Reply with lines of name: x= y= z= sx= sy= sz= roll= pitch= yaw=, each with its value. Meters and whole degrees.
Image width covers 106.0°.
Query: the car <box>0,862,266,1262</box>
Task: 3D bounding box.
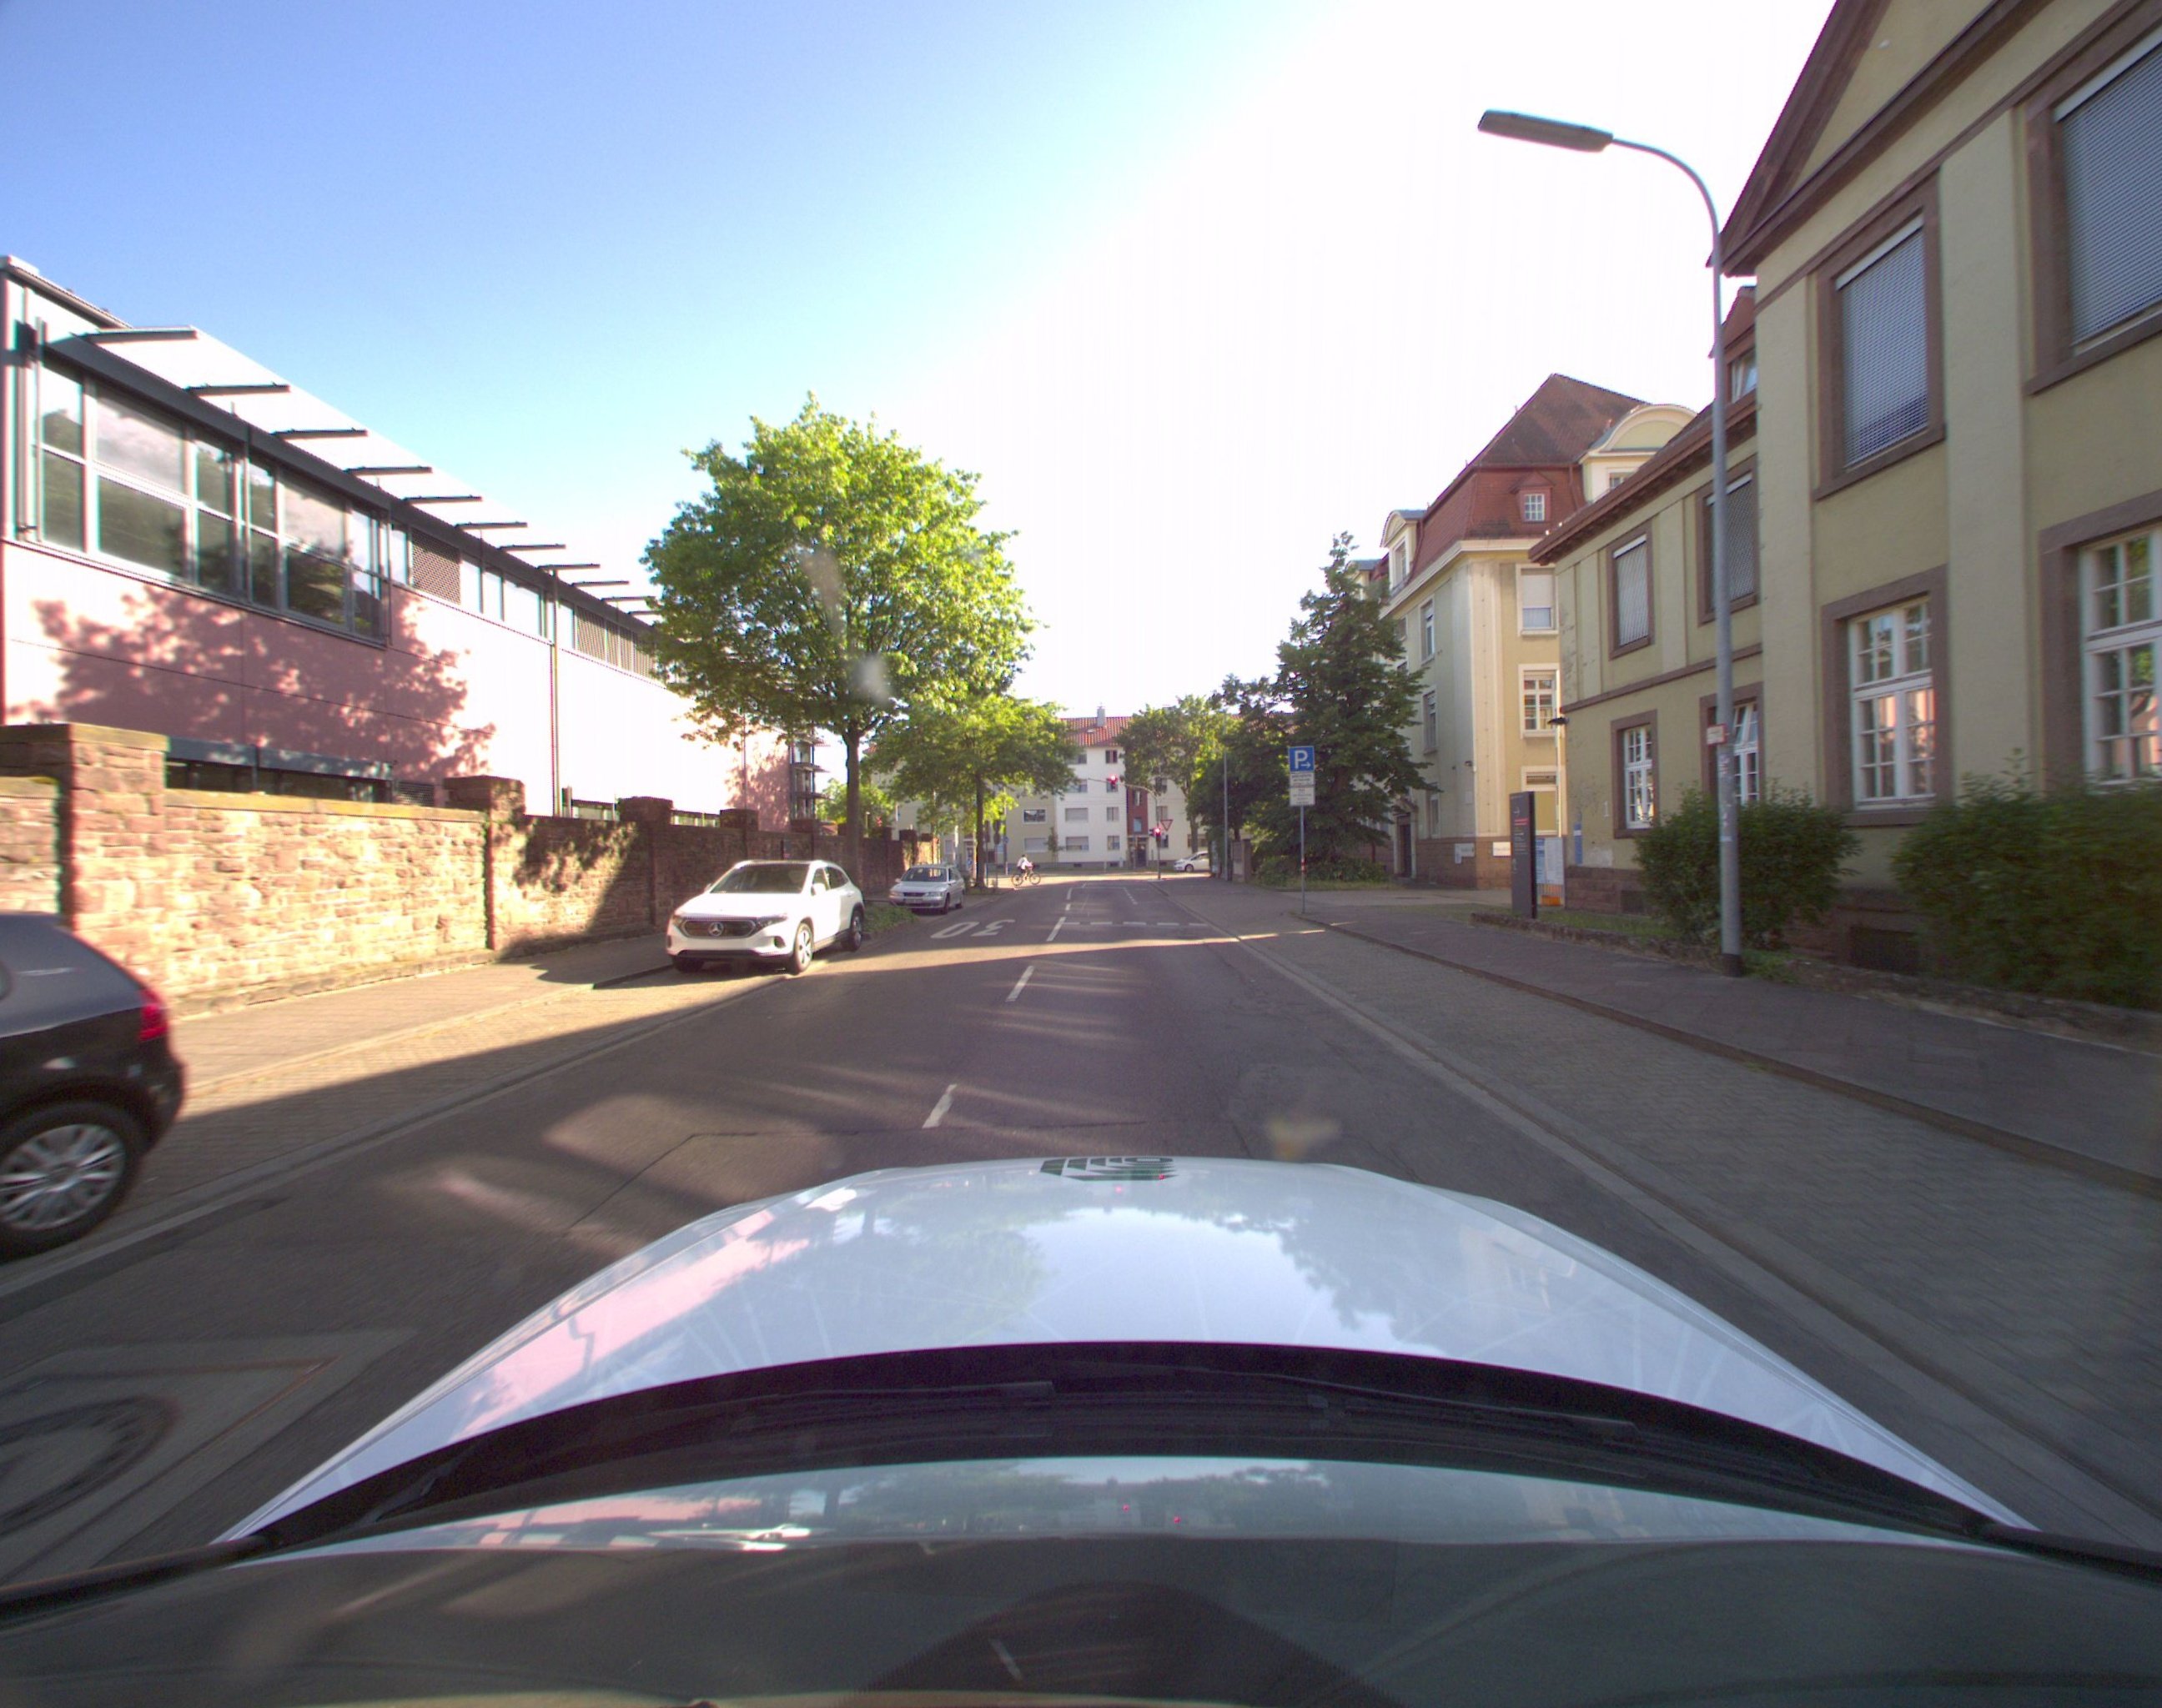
car: x=-5.258 y=0.853 z=2.254 sx=1.730 sy=1.592 sz=4.109 roll=-1 pitch=0 yaw=3

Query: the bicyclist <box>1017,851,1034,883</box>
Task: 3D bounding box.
bicyclist: x=-3.103 y=0.740 z=45.486 sx=0.790 sy=1.757 sz=0.607 roll=-1 pitch=0 yaw=-26

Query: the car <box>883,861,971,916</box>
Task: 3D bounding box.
car: x=-4.557 y=0.983 z=24.793 sx=1.720 sy=1.475 sz=4.479 roll=0 pitch=0 yaw=1

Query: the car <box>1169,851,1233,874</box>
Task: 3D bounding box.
car: x=9.660 y=0.663 z=65.763 sx=4.664 sy=1.739 sz=1.992 roll=-1 pitch=0 yaw=-11

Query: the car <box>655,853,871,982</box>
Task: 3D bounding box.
car: x=-4.805 y=0.851 z=13.058 sx=1.714 sy=1.683 sz=4.350 roll=-1 pitch=0 yaw=0

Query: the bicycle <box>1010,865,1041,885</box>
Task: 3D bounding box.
bicycle: x=-3.094 y=1.166 z=45.506 sx=1.692 sy=1.080 sz=0.348 roll=-1 pitch=0 yaw=-25
